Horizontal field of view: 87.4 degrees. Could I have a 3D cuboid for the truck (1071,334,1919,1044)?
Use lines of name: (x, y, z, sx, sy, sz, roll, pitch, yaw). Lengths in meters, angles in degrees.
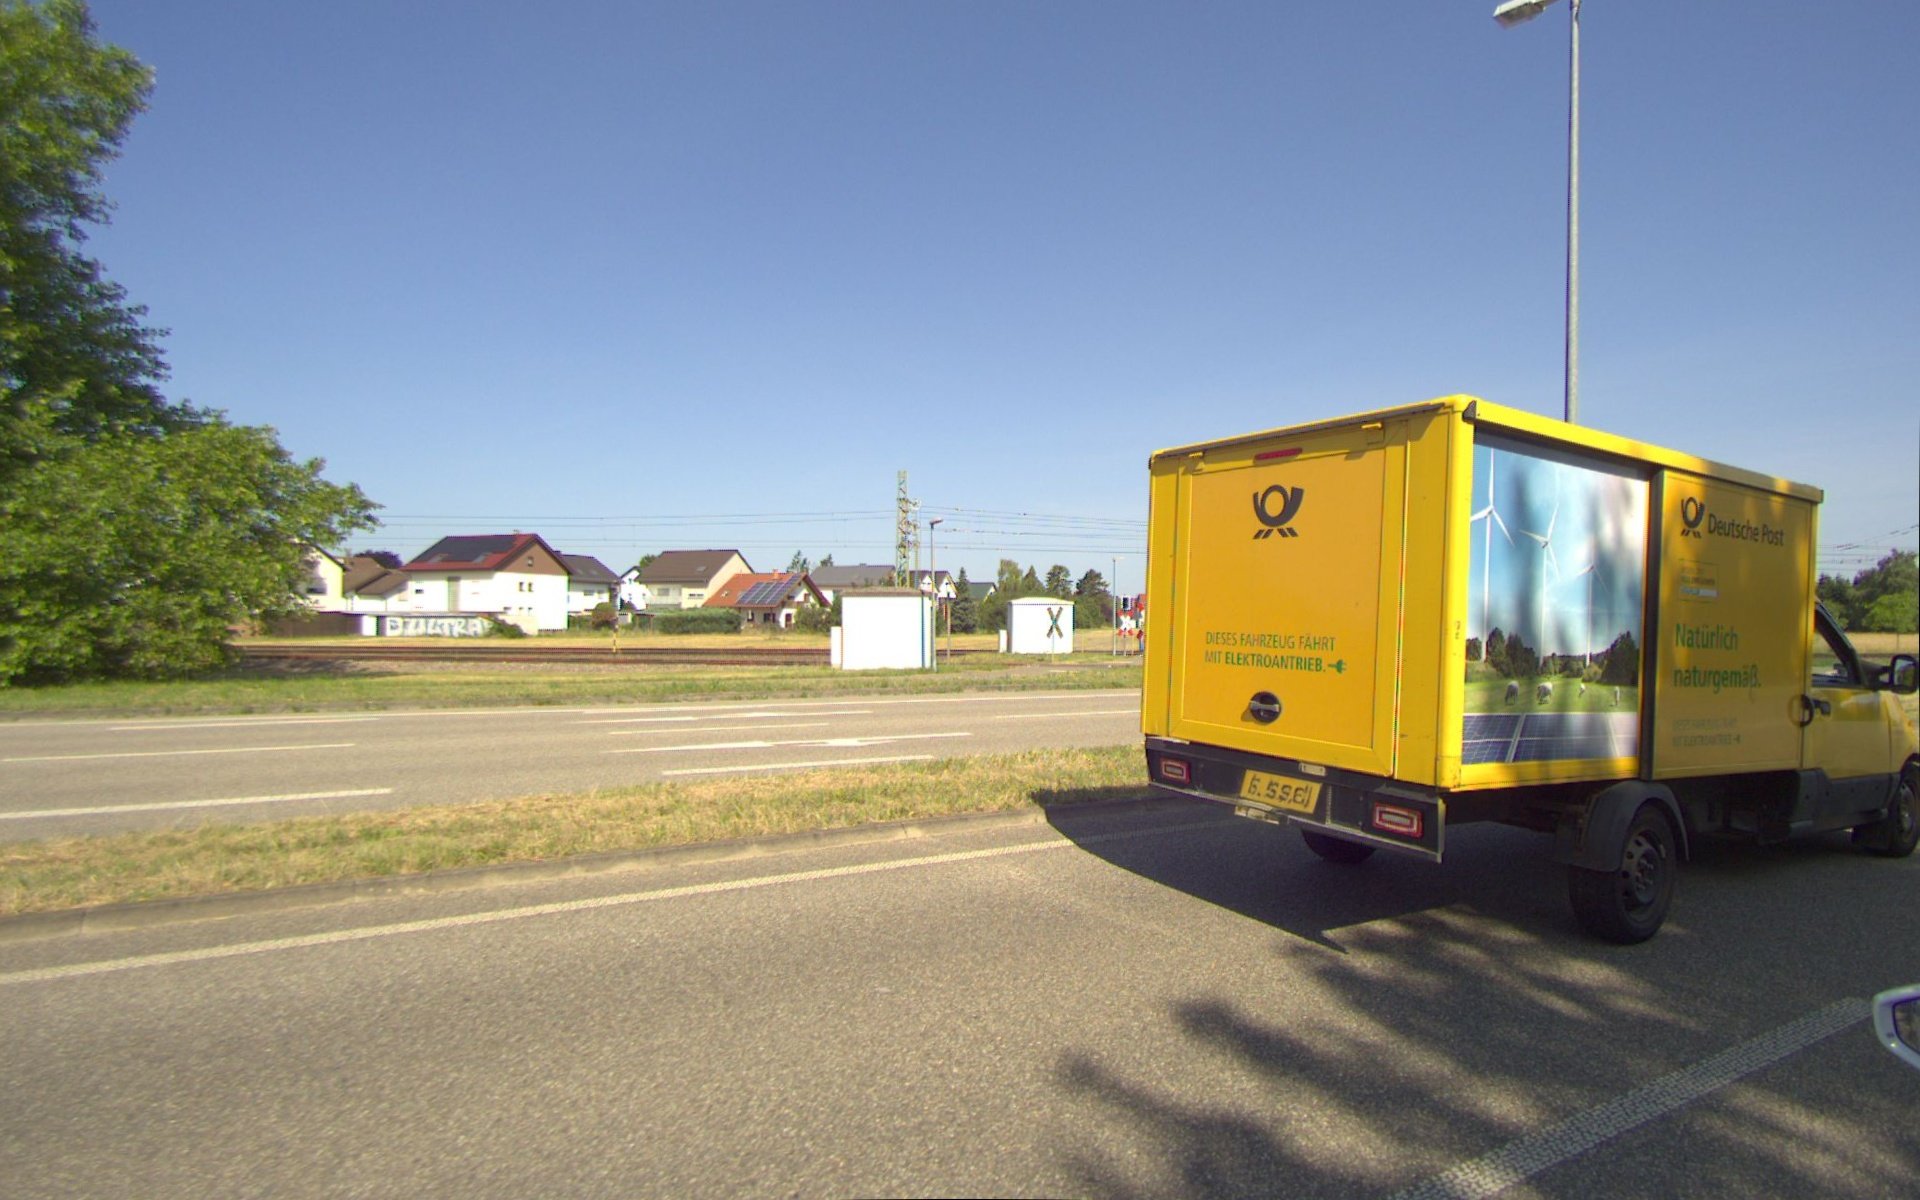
truck: (3.623, 0.357, 5.990, 5.851, 2.490, 2.100, 1, 0, -32)
